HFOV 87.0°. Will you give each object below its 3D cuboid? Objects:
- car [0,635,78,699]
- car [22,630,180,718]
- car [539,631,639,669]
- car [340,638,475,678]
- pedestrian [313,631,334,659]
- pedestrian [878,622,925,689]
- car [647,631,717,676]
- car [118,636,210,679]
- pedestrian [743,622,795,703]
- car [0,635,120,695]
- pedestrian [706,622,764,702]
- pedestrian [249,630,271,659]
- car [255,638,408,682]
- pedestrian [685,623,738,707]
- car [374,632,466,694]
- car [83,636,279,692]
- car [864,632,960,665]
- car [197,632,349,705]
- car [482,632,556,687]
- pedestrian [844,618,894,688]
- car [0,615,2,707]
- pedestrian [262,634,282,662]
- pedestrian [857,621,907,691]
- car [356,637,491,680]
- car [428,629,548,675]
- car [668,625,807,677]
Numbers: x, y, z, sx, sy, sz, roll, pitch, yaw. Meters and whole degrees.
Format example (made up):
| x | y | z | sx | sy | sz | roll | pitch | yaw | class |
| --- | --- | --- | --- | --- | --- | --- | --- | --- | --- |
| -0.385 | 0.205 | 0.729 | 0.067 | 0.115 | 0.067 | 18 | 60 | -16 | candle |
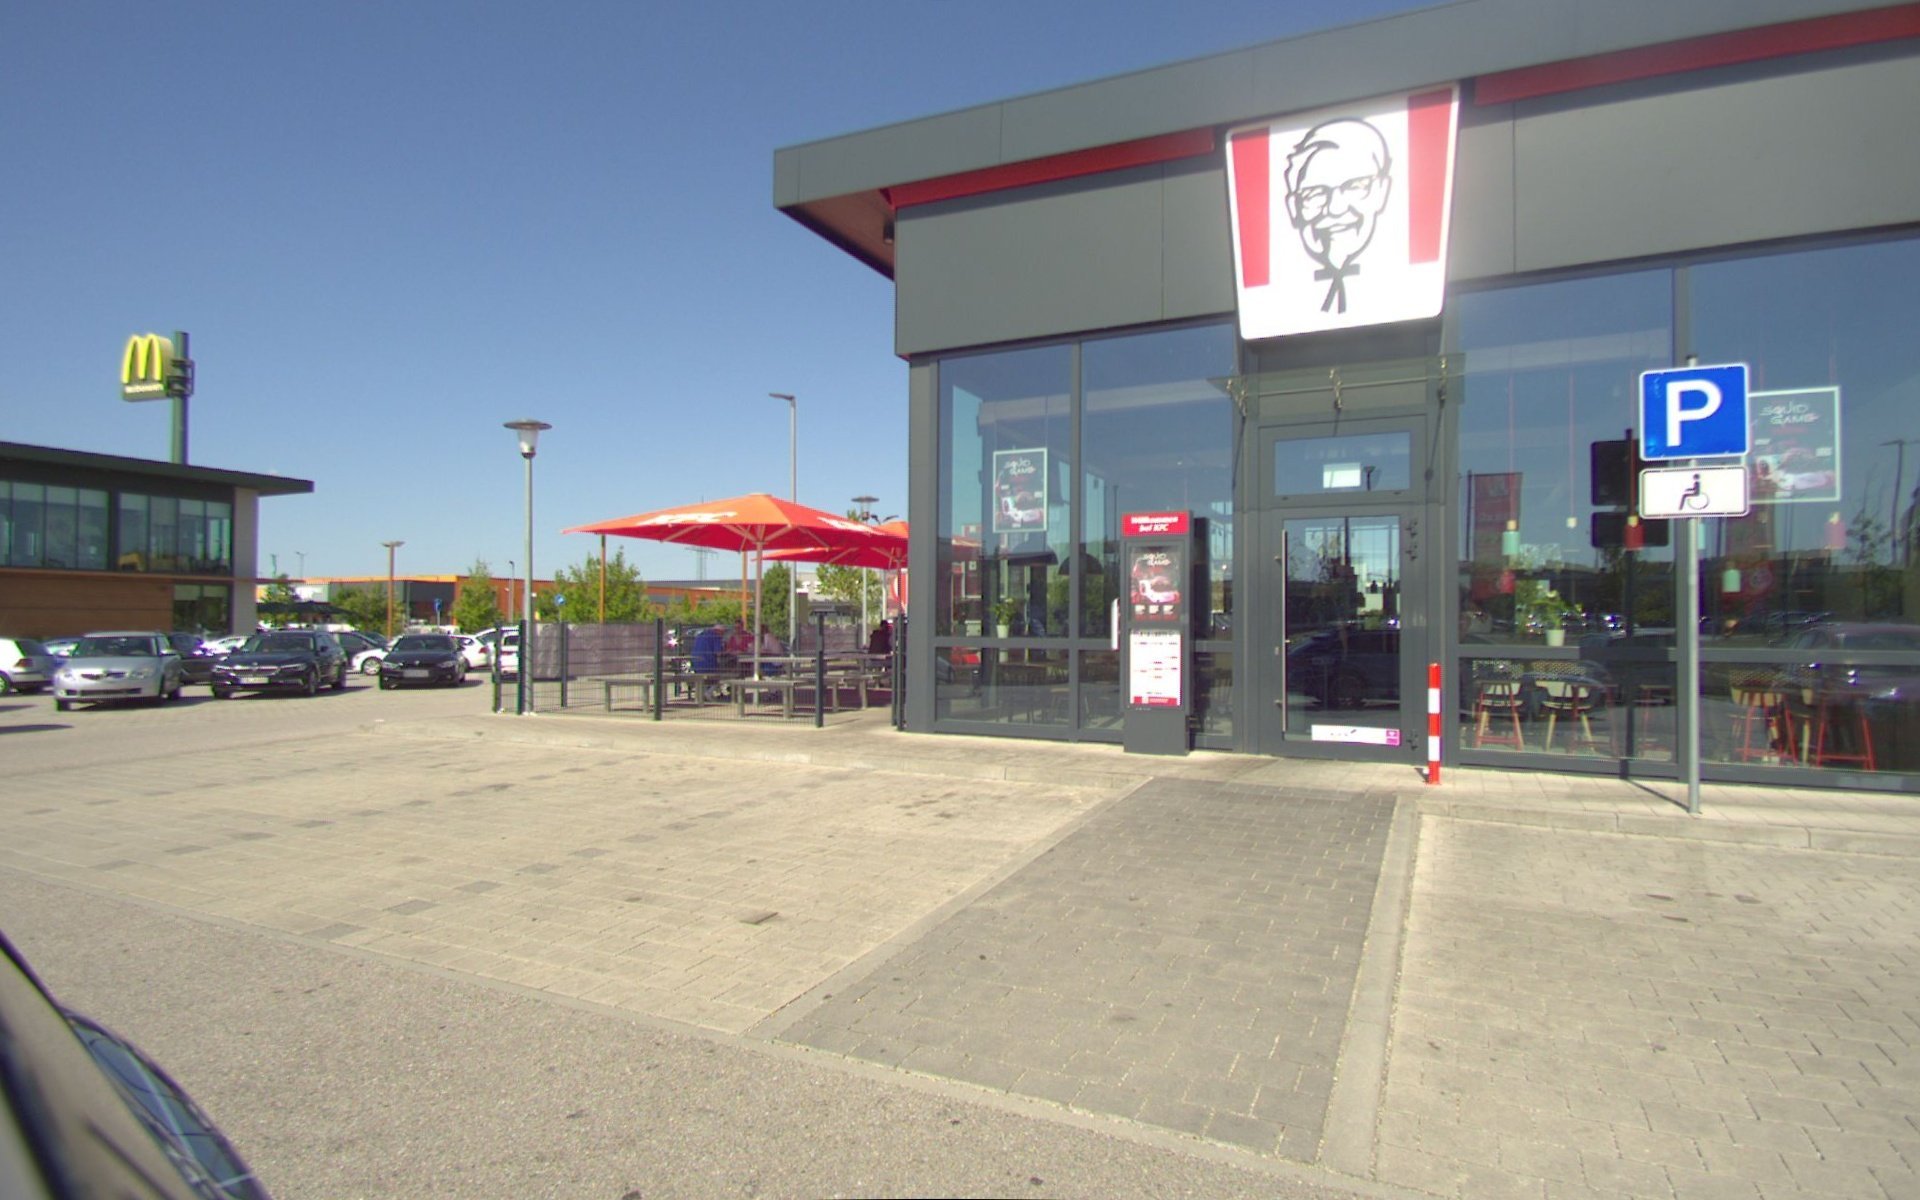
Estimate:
| x | y | z | sx | sy | sz | roll | pitch | yaw | class |
| --- | --- | --- | --- | --- | --- | --- | --- | --- | --- |
| -24.418 | 1.641 | 24.667 | 4.044 | 1.504 | 1.717 | 0 | -2 | -18 | car |
| -17.059 | 1.413 | 20.317 | 1.942 | 1.538 | 4.218 | 1 | -3 | -34 | car |
| -15.858 | 2.117 | 43.264 | 3.931 | 1.564 | 1.760 | 0 | -2 | -21 | car |
| -22.482 | 2.322 | 41.347 | 4.565 | 1.498 | 1.901 | 0 | -2 | -18 | car |
| -36.007 | 2.545 | 57.252 | 0.718 | 1.571 | 0.695 | -1 | -2 | 27 | pedestrian |
| -1.171 | 1.116 | 20.355 | 0.664 | 1.314 | 0.679 | -2 | -3 | 35 | pedestrian |
| -9.918 | 1.881 | 35.899 | 1.941 | 1.471 | 4.220 | 0 | -2 | -22 | car |
| -31.908 | 2.275 | 40.689 | 1.687 | 1.625 | 4.049 | 0 | -2 | -20 | car |
| -3.080 | 1.004 | 16.359 | 0.678 | 1.283 | 0.549 | -1 | -2 | 10 | pedestrian |
| -25.072 | 1.704 | 26.721 | 4.044 | 1.527 | 1.819 | 0 | -2 | -18 | car |
| -3.715 | 1.023 | 16.743 | 0.678 | 1.283 | 0.839 | -1 | -2 | 10 | pedestrian |
| -38.495 | 2.454 | 55.682 | 0.691 | 1.571 | 0.722 | -1 | -2 | -2 | pedestrian |
| -23.514 | 2.213 | 38.073 | 4.565 | 1.498 | 1.901 | 0 | -2 | -18 | car |
| -3.894 | 1.008 | 15.899 | 0.607 | 1.283 | 0.622 | -1 | -2 | 10 | pedestrian |
| -14.166 | 1.606 | 26.752 | 1.804 | 1.471 | 4.384 | 0 | -2 | -23 | car |
| -22.792 | 1.850 | 29.808 | 4.207 | 1.498 | 1.819 | 0 | -2 | -18 | car |
| -2.432 | 2.443 | 51.144 | 4.547 | 1.605 | 1.828 | -1 | -2 | 23 | car |
| -15.887 | 1.539 | 23.691 | 1.941 | 1.498 | 4.798 | 0 | -2 | -22 | car |
| -12.764 | 1.690 | 29.486 | 1.804 | 1.471 | 4.599 | 0 | -2 | -22 | car |
| -1.852 | 1.072 | 20.696 | 0.664 | 1.398 | 0.798 | -2 | -3 | 35 | pedestrian |
| -15.602 | 1.052 | 12.861 | 1.823 | 1.761 | 4.643 | -1 | -2 | 25 | car |
| -39.435 | 2.759 | 58.015 | 0.691 | 1.571 | 0.722 | -1 | -2 | -2 | pedestrian |
| -1.508 | 1.069 | 19.514 | 0.664 | 1.314 | 0.704 | -2 | -3 | 35 | pedestrian |
| -19.195 | 2.079 | 36.386 | 4.044 | 1.424 | 1.819 | 0 | -2 | -18 | car |
| -18.364 | 2.013 | 39.566 | 4.044 | 1.687 | 1.819 | 0 | -2 | -18 | car |
| -7.203 | 1.626 | 32.658 | 4.230 | 1.603 | 1.863 | 1 | -3 | -17 | car |
